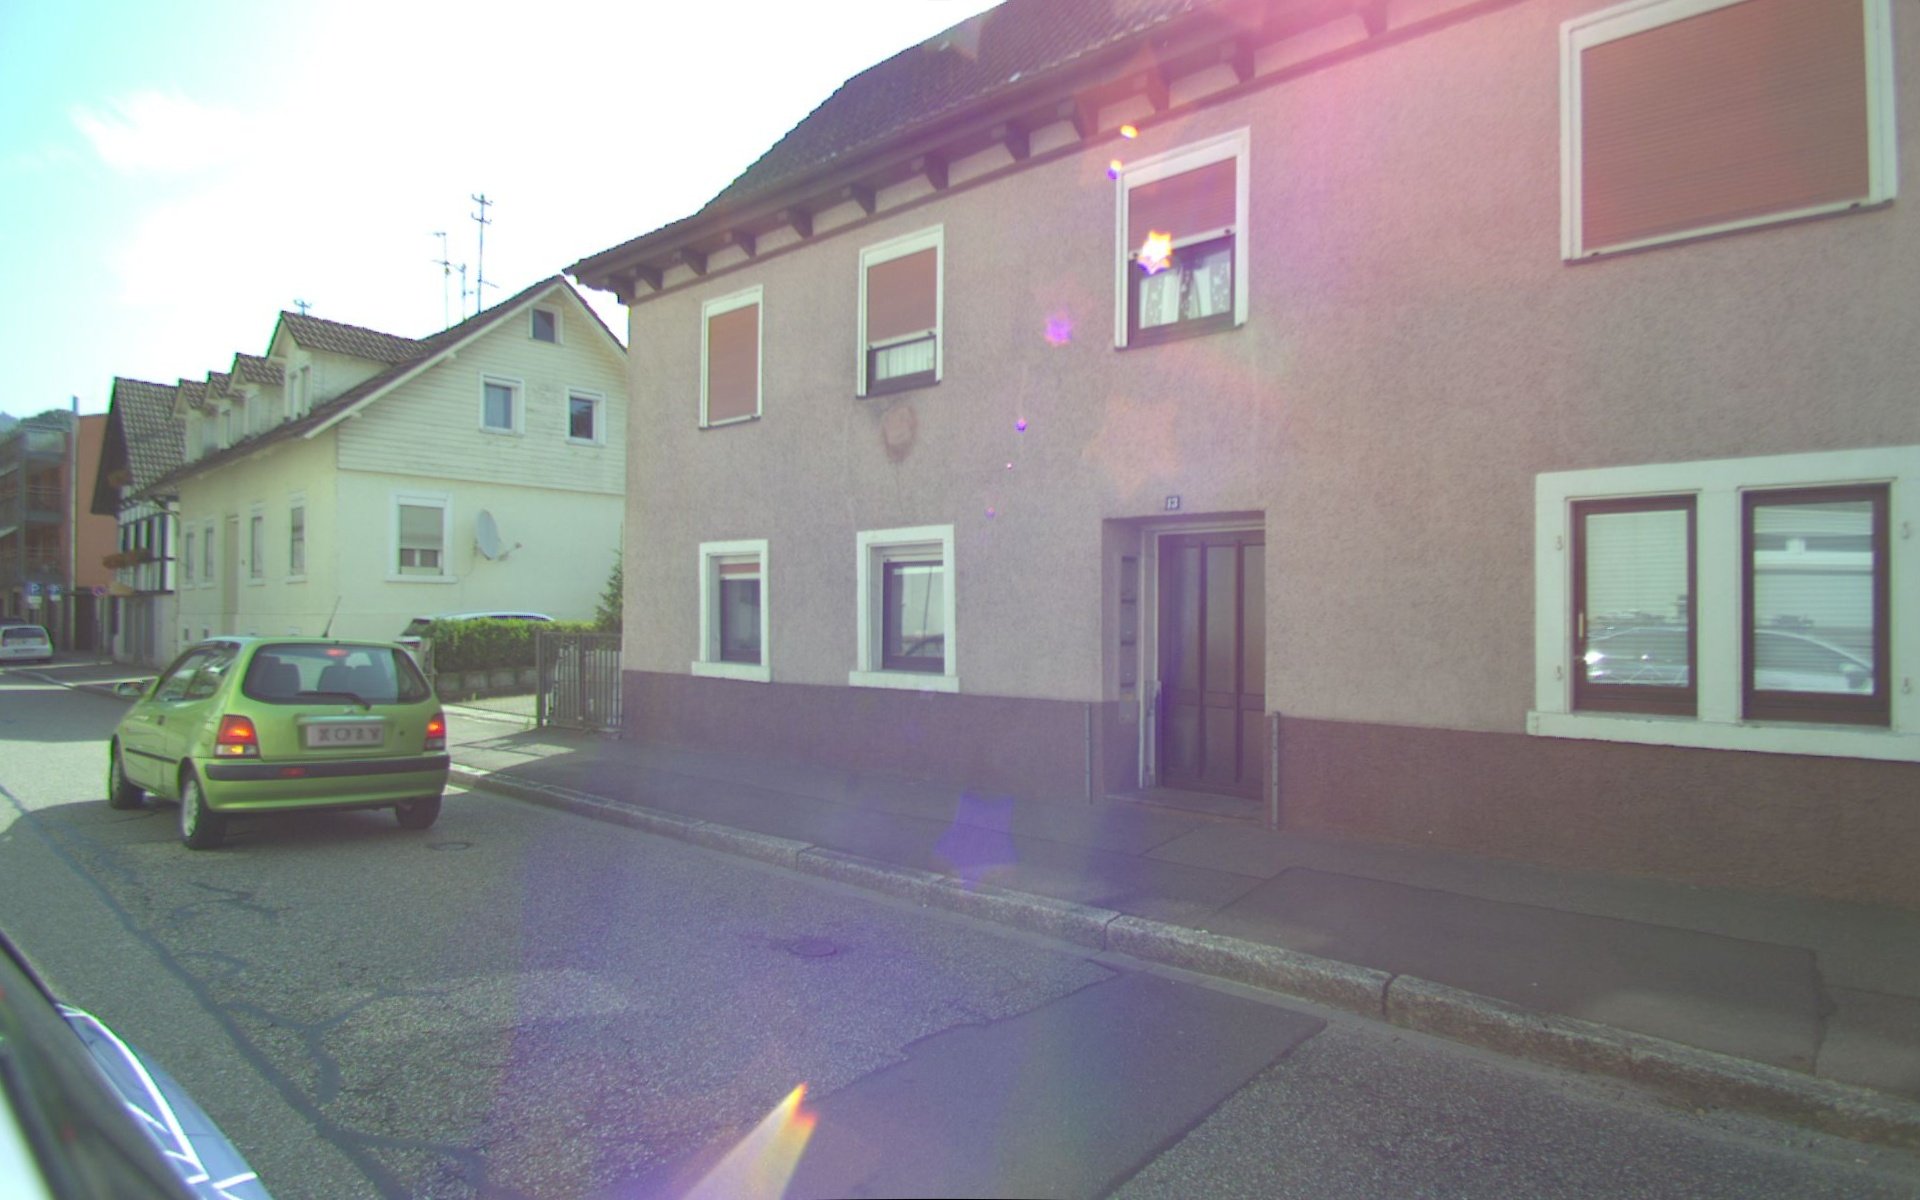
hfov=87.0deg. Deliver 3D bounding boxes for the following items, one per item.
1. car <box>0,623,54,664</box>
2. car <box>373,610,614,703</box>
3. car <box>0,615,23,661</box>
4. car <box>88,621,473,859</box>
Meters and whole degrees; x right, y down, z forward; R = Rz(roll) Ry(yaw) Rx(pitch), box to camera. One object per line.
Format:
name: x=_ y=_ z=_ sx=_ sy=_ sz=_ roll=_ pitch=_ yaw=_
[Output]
car: x=-35.564 y=1.645 z=38.192 sx=3.566 sy=1.443 sz=1.649 roll=-2 pitch=-1 yaw=41
car: x=-9.187 y=1.041 z=20.172 sx=1.905 sy=1.606 sz=3.949 roll=-1 pitch=-1 yaw=38
car: x=-39.970 y=1.550 z=41.451 sx=4.263 sy=1.810 sz=1.703 roll=-1 pitch=-2 yaw=38
car: x=-5.545 y=0.961 z=8.104 sx=3.658 sy=1.475 sz=1.580 roll=-1 pitch=-5 yaw=41
